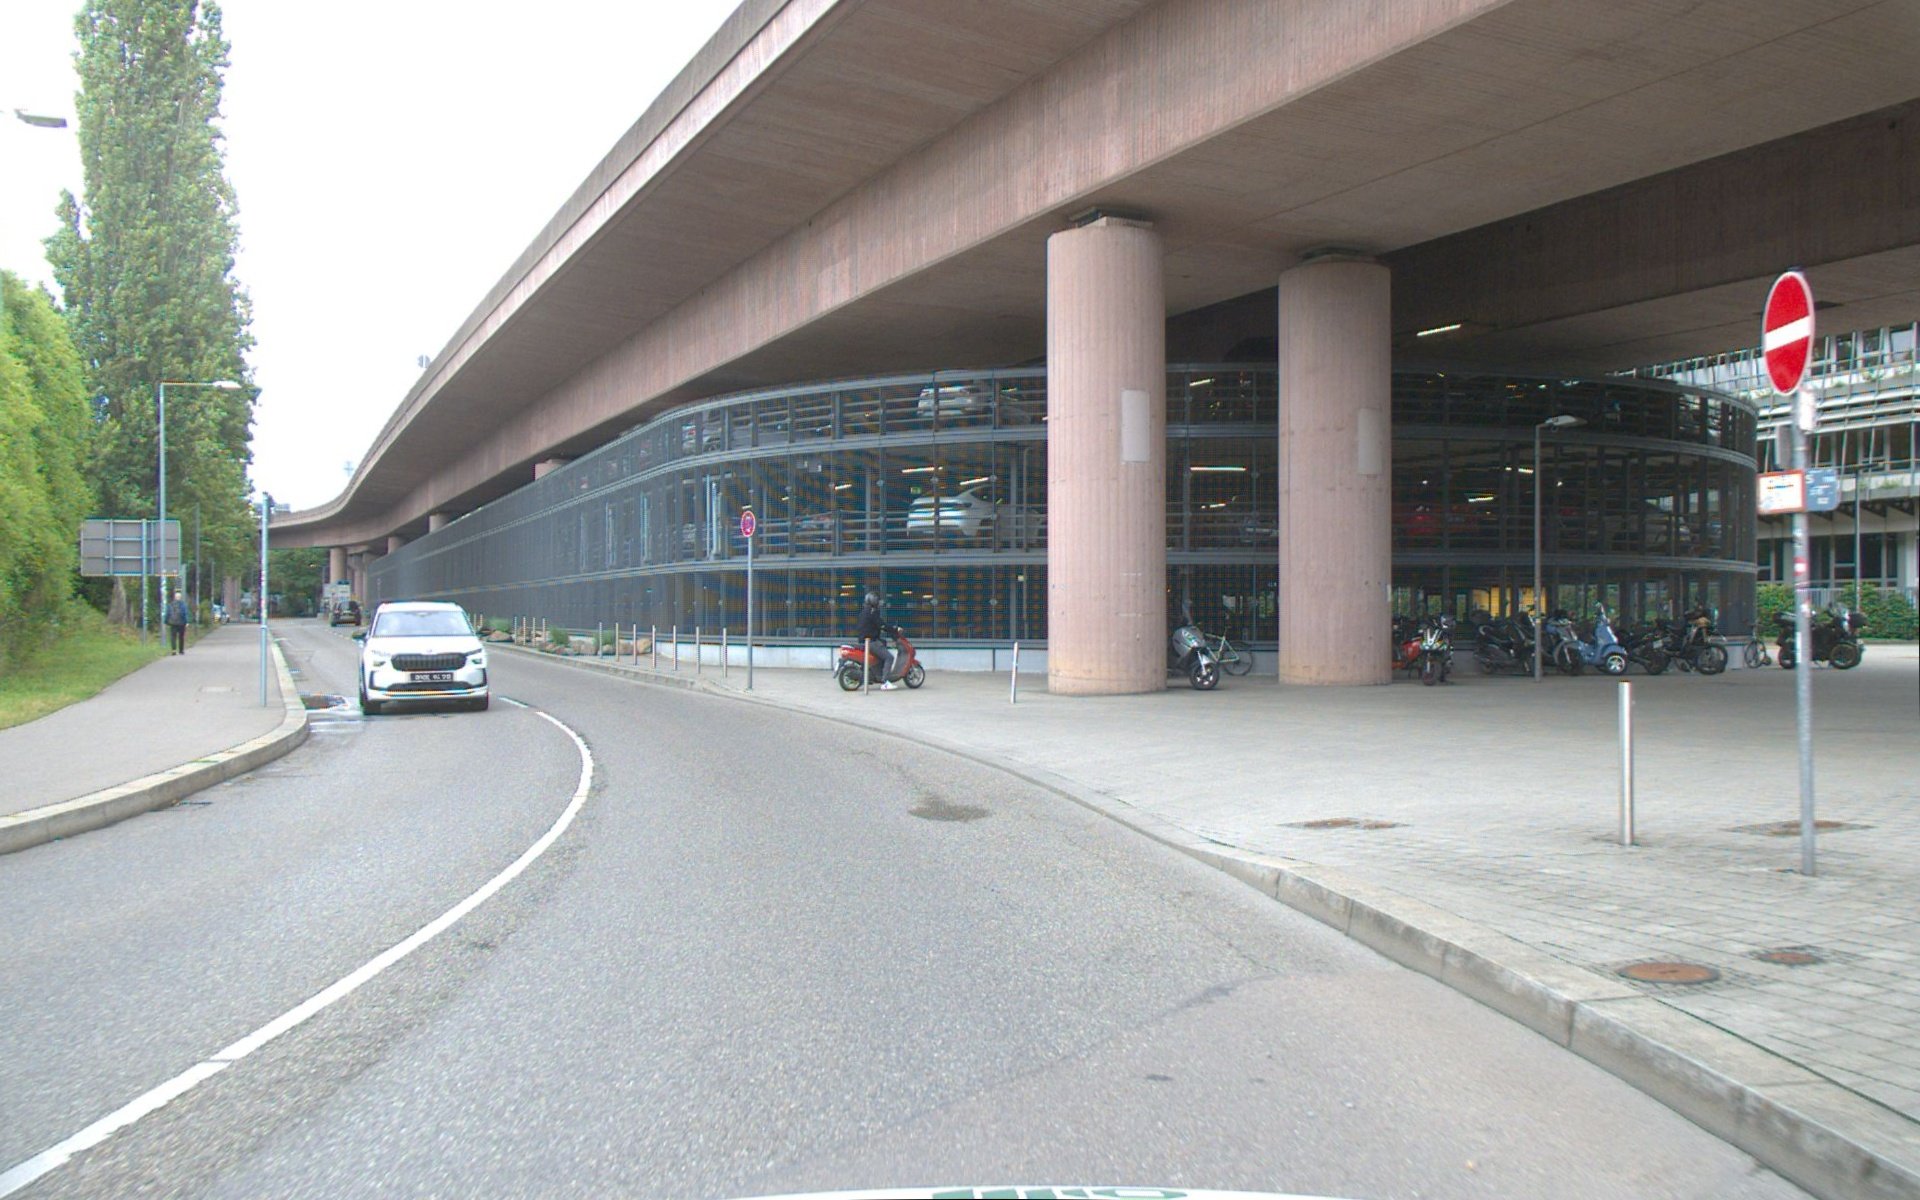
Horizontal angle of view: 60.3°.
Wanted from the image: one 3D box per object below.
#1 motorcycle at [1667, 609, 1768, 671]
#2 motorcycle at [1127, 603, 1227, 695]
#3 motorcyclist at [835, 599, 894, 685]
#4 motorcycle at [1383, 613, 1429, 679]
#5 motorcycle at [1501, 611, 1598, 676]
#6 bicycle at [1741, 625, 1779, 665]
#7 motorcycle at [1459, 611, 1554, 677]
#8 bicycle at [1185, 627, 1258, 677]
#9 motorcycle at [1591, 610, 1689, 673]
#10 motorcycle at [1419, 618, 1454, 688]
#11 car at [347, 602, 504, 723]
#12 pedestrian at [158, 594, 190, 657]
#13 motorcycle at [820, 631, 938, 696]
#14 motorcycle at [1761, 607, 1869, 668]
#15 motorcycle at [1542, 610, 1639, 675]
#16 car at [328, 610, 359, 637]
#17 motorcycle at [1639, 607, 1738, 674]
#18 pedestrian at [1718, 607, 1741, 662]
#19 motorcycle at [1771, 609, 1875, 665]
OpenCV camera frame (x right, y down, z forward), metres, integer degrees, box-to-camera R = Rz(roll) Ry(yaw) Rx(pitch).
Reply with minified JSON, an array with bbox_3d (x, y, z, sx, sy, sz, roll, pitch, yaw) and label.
[{"bbox_3d":[16.181,0.827,35.389,0.663,1.241,2.064,0,1,-22],"label":"motorcycle"},{"bbox_3d":[3.677,0.810,28.109,0.637,1.480,1.738,-1,1,-39],"label":"motorcycle"},{"bbox_3d":[-1.645,0.710,28.423,0.853,1.444,0.761,0,1,-17],"label":"motorcyclist"},{"bbox_3d":[8.784,0.902,32.588,0.510,1.241,1.149,0,1,-5],"label":"motorcycle"},{"bbox_3d":[12.061,0.867,33.906,0.663,1.241,2.065,0,1,-22],"label":"motorcycle"},{"bbox_3d":[19.680,1.106,40.684,0.467,0.911,1.497,0,1,41],"label":"bicycle"},{"bbox_3d":[11.108,0.874,33.693,0.663,1.241,2.065,0,1,-22],"label":"motorcycle"},{"bbox_3d":[5.400,1.070,34.152,1.441,0.993,0.452,0,1,2],"label":"bicycle"},{"bbox_3d":[14.191,0.848,34.573,0.663,1.241,2.065,0,1,-22],"label":"motorcycle"},{"bbox_3d":[8.305,0.927,28.855,0.509,1.191,1.151,0,-2,13],"label":"motorcycle"},{"bbox_3d":[-8.528,0.917,26.162,1.841,1.713,4.370,-1,0,-25],"label":"car"},{"bbox_3d":[-22.985,0.741,48.354,0.793,1.812,0.914,0,1,-24],"label":"pedestrian"},{"bbox_3d":[-1.398,1.083,28.501,1.919,1.040,0.745,0,1,-18],"label":"motorcycle"},{"bbox_3d":[19.779,0.847,38.321,0.662,1.298,2.347,0,1,-22],"label":"motorcycle"},{"bbox_3d":[13.042,0.857,34.297,0.663,1.241,2.065,0,1,-22],"label":"motorcycle"},{"bbox_3d":[-42.730,1.611,114.595,1.815,1.741,3.679,-1,1,-23],"label":"car"},{"bbox_3d":[15.394,0.836,35.002,0.663,1.308,2.065,0,1,-22],"label":"motorcycle"},{"bbox_3d":[28.570,1.282,61.417,0.518,2.049,0.572,1,-1,-14],"label":"pedestrian"},{"bbox_3d":[20.520,0.863,39.380,0.662,1.241,2.347,0,1,-22],"label":"motorcycle"}]
